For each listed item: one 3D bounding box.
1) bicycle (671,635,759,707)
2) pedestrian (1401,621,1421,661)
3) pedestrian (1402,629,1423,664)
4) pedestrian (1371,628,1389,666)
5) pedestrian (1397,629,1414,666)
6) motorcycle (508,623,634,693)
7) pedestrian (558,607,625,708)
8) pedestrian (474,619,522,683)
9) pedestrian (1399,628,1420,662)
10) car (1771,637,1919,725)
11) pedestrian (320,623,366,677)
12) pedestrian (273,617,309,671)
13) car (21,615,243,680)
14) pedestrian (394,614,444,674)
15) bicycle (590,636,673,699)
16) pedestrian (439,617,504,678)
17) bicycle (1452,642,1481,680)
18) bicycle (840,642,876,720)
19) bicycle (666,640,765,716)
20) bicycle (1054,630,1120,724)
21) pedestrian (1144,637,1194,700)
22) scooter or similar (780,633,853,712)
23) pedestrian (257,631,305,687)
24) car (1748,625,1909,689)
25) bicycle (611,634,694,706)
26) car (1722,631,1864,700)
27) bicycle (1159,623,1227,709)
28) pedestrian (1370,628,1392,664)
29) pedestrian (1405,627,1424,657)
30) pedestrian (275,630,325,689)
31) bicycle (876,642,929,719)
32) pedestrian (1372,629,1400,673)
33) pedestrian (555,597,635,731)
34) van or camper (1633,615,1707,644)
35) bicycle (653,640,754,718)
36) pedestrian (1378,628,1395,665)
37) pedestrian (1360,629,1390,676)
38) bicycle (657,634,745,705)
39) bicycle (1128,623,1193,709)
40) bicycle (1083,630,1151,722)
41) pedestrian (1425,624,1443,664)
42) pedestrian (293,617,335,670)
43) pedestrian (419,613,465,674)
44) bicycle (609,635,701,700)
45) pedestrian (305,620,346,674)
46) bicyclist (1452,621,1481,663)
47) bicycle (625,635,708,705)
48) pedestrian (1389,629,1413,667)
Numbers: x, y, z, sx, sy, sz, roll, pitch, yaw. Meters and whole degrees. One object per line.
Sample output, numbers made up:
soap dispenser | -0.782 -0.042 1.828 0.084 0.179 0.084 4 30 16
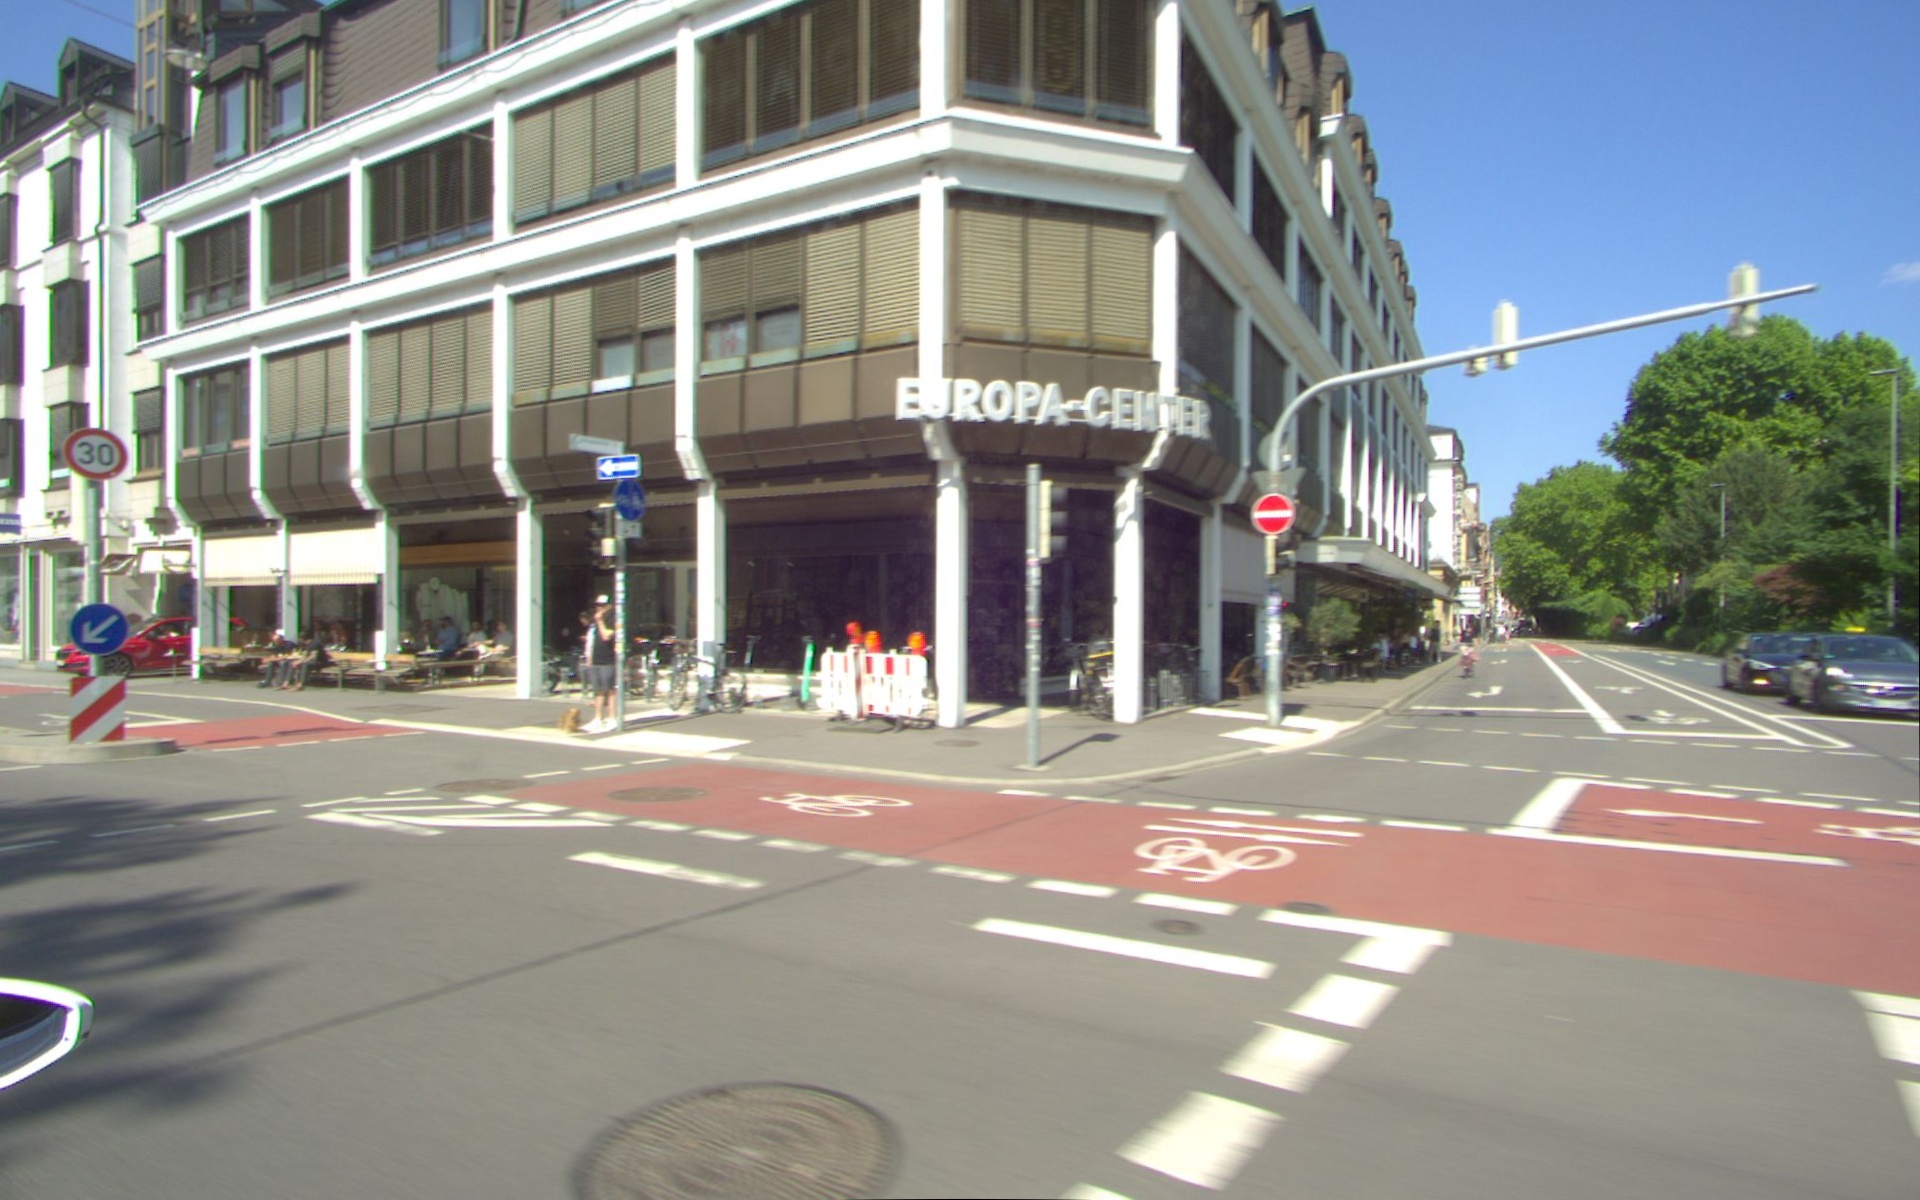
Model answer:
bicycle | -4.244 1.211 17.474 0.274 1.135 1.711 0 0 36
pedestrian | 20.057 1.826 44.497 0.746 1.751 0.794 0 -1 29
pedestrian | 18.462 1.887 40.860 0.746 1.411 0.714 0 -1 29
pedestrian | 15.871 1.779 37.827 0.564 1.411 0.567 0 -1 29
pedestrian | 16.972 1.802 38.119 0.536 1.411 0.552 0 -1 29
motorcycle | -7.806 1.142 20.120 2.212 1.307 0.943 0 -1 -32
pedestrian | -6.384 0.978 17.369 0.688 1.685 0.829 -2 0 38
pedestrian | -10.443 1.146 22.638 0.686 1.414 0.710 -2 -1 29
pedestrian | 19.346 1.934 43.117 0.746 1.411 0.714 0 -1 29
car | 16.647 1.421 18.568 1.831 1.381 4.079 1 -1 30
pedestrian | -16.145 1.292 26.219 0.529 1.385 0.876 0 -1 29
pedestrian | -17.460 1.144 26.145 0.679 1.385 0.534 0 -1 31
car | -21.155 1.187 25.742 1.816 1.513 4.038 -3 -2 31
pedestrian | -12.989 1.045 24.041 0.686 1.414 0.812 -1 -1 28
bicycle | -6.233 1.256 19.109 0.272 1.111 2.241 0 -1 16
pedestrian | -11.270 1.087 23.100 1.089 1.368 0.895 -2 -1 29
bicycle | 16.097 1.926 31.788 0.753 1.135 2.114 -2 -2 28
bicycle | -1.615 1.243 15.762 0.370 1.080 1.469 0 1 -13
bicycle | -4.046 1.247 16.455 2.215 1.135 0.276 0 0 38
bicycle | 1.970 1.172 15.804 0.521 1.334 1.966 0 0 -8
pedestrian | 4.599 1.495 22.096 0.813 1.352 0.971 0 -1 -6
scooter or similar | -2.360 1.173 16.539 0.474 1.248 1.242 0 -1 36
pedestrian | -14.807 1.272 21.842 0.688 1.188 0.708 -2 -1 39
car | 23.756 1.527 27.354 4.681 1.603 2.053 2 -2 -32
bicycle | -5.472 1.222 17.889 0.274 1.222 1.541 0 -1 36
car | 19.210 1.447 23.281 1.831 1.381 4.079 1 -1 30
bicycle | 4.211 1.163 18.237 0.521 1.441 1.966 0 0 -8
pedestrian | 16.824 1.832 40.021 0.746 1.411 0.714 0 -1 29
pedestrian | 21.380 1.977 47.071 0.746 1.411 0.714 0 -1 29
pedestrian | -14.093 1.262 21.390 0.688 1.232 0.708 -2 -1 39
bicycle | -0.902 1.216 15.491 0.304 1.079 1.466 -1 0 -24
pedestrian | 13.913 1.646 32.705 0.746 1.411 0.925 0 -1 29
pedestrian | -5.270 0.902 14.469 0.688 1.859 0.829 -1 -1 38
van or camper | 73.278 3.057 103.516 2.345 2.941 5.904 1 -2 -22
bicycle | -4.150 1.241 16.105 2.215 1.135 0.276 0 0 38
pedestrian | 16.356 1.789 38.390 0.564 1.411 0.567 0 -1 29
pedestrian | 12.905 1.613 31.147 0.746 1.411 0.925 0 -1 29
bicycle | -4.559 1.202 17.708 0.274 1.135 1.711 0 0 36
bicycle | 3.619 1.159 18.249 0.521 1.441 1.966 0 0 -8
bicycle | 2.471 1.165 15.942 0.521 1.334 1.858 0 0 -8
pedestrian | 19.425 1.786 41.042 0.607 1.633 0.870 0 -1 29
pedestrian | -17.106 1.143 26.517 0.575 1.385 0.743 0 -1 29
pedestrian | -12.240 1.031 23.680 0.686 1.414 0.710 -2 -1 29
bicycle | -5.690 1.230 18.831 0.273 1.135 2.238 0 -1 22
pedestrian | -16.642 1.225 26.261 0.471 1.385 0.760 0 -1 29
bicyclist | 16.090 1.327 31.793 0.770 1.325 0.940 -2 -1 28
bicycle | -5.162 1.215 17.701 0.274 1.135 1.565 0 0 36
pedestrian | 16.512 1.778 37.493 0.746 1.411 0.714 0 -1 29
